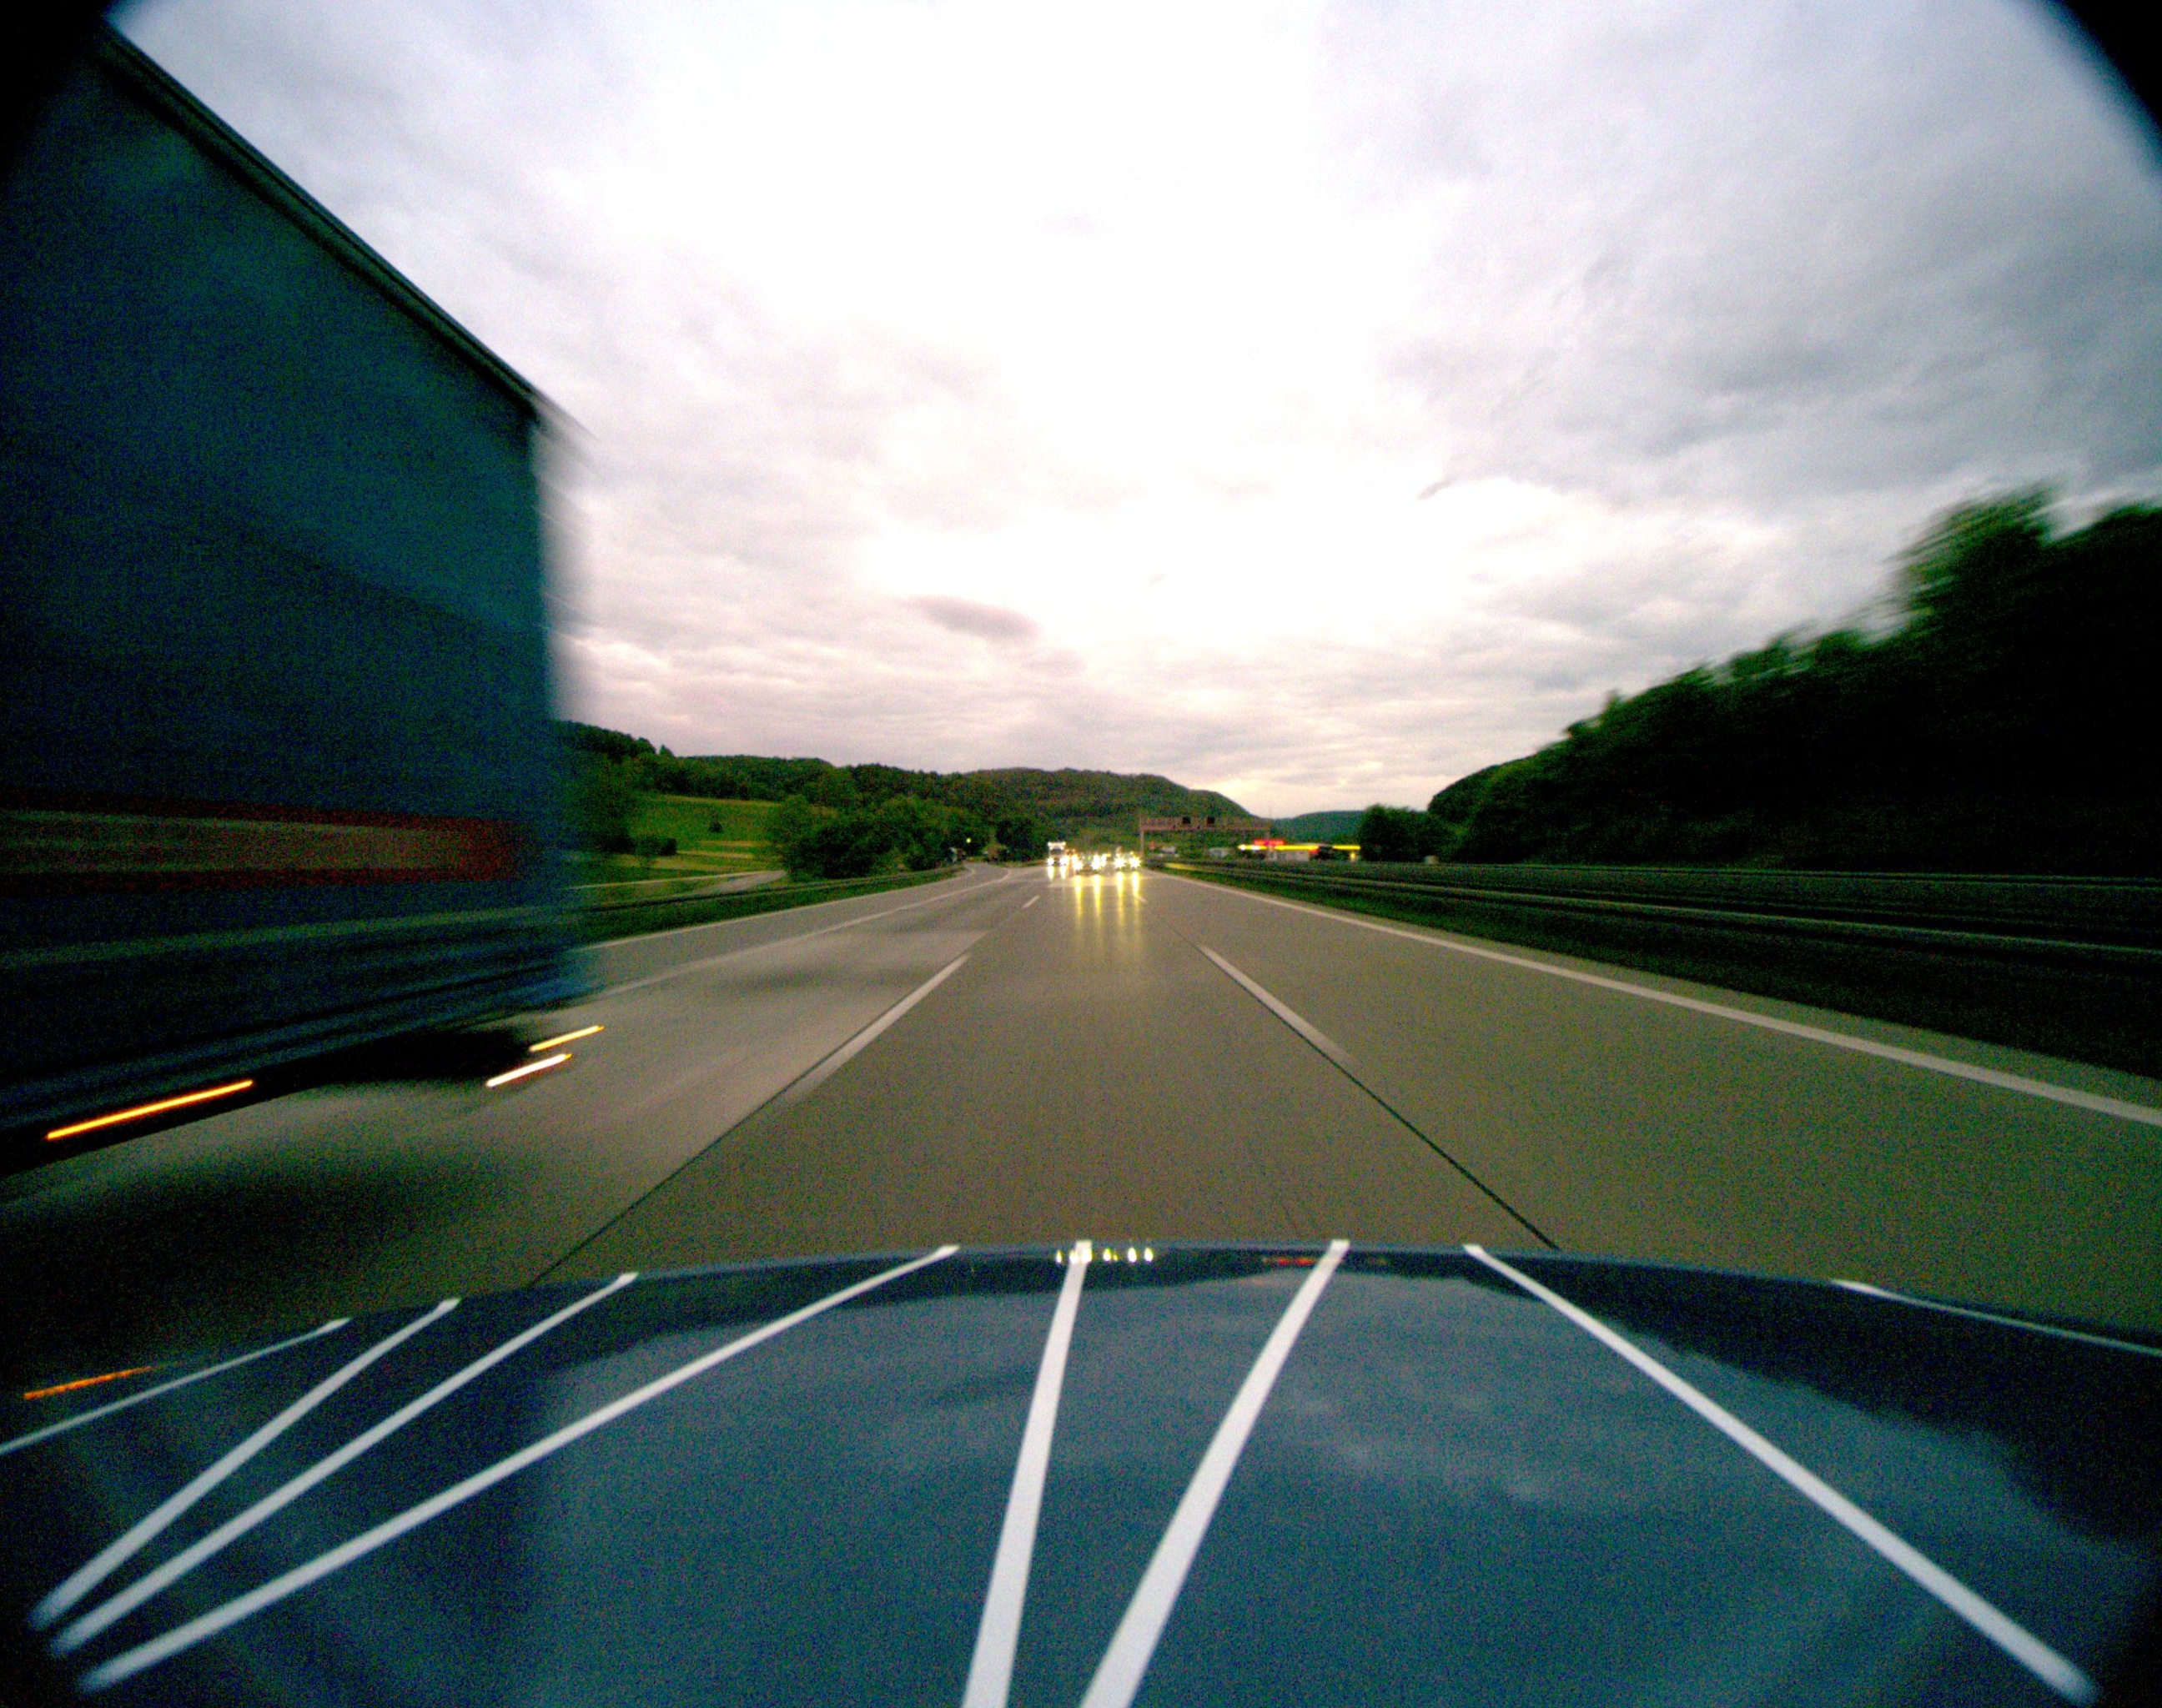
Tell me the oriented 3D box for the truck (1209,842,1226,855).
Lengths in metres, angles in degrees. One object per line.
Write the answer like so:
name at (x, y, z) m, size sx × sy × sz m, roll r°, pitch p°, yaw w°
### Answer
truck at (34.742, -1.370, 193.409) m, size 2.881 × 3.405 × 6.724 m, roll -1°, pitch 0°, yaw -3°

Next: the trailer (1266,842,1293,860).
trailer at (50.469, -0.721, 194.136) m, size 3.025 × 4.235 × 15.947 m, roll -1°, pitch 0°, yaw 1°

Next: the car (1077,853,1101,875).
car at (0.695, 0.820, 64.419) m, size 1.927 × 1.674 × 4.806 m, roll 0°, pitch 1°, yaw 0°

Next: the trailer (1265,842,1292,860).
trailer at (50.377, -0.720, 194.138) m, size 3.025 × 4.235 × 15.947 m, roll -1°, pitch 0°, yaw 1°

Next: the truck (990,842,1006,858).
truck at (-23.122, -1.198, 212.157) m, size 3.785 × 4.204 × 19.517 m, roll 0°, pitch 0°, yaw -4°

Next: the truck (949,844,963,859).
truck at (-32.531, -0.730, 197.813) m, size 2.846 × 3.893 × 6.383 m, roll 0°, pitch 1°, yaw -2°

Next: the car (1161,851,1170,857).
car at (20.304, -0.019, 182.398) m, size 1.734 × 1.577 × 4.644 m, roll -1°, pitch 0°, yaw 0°

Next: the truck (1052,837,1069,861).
truck at (-3.349, -0.815, 127.616) m, size 2.623 × 3.805 × 10.384 m, roll -1°, pitch 1°, yaw -1°

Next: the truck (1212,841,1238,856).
truck at (35.143, -1.365, 186.298) m, size 2.881 × 3.405 × 13.785 m, roll -1°, pitch 0°, yaw -4°

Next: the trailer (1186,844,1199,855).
trailer at (37.257, -1.505, 255.203) m, size 2.880 × 3.405 × 13.225 m, roll -1°, pitch 0°, yaw 2°

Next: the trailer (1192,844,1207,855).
trailer at (36.655, -1.427, 235.657) m, size 2.880 × 3.405 × 13.571 m, roll -1°, pitch 0°, yaw 2°

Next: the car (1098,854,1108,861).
car at (4.961, 0.861, 172.002) m, size 1.898 × 1.503 × 3.999 m, roll -1°, pitch 0°, yaw 0°

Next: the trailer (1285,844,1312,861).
trailer at (49.819, -0.414, 174.497) m, size 2.880 × 3.657 × 12.717 m, roll -1°, pitch 0°, yaw 1°

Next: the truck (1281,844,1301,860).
truck at (50.016, -0.421, 181.364) m, size 2.880 × 3.619 × 7.029 m, roll -1°, pitch 0°, yaw 2°

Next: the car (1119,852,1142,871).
car at (4.790, 0.698, 74.580) m, size 1.894 × 1.650 × 5.639 m, roll -2°, pitch 1°, yaw 1°

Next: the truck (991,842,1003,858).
truck at (-21.324, -0.918, 192.357) m, size 2.847 × 3.893 × 11.981 m, roll 0°, pitch 0°, yaw -6°

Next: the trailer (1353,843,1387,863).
trailer at (61.809, -0.366, 162.070) m, size 3.280 × 4.082 × 14.475 m, roll 0°, pitch 1°, yaw 36°

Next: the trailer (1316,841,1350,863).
trailer at (46.231, -0.444, 138.935) m, size 3.063 × 3.657 × 13.368 m, roll -1°, pitch 0°, yaw 31°

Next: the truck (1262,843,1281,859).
truck at (50.572, -0.776, 202.208) m, size 3.025 × 4.235 × 8.864 m, roll -1°, pitch 0°, yaw 1°

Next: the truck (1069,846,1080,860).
truck at (-1.837, -0.404, 225.381) m, size 3.120 × 3.850 × 14.162 m, roll 2°, pitch 0°, yaw 0°

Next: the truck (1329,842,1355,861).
truck at (49.798, -0.506, 144.814) m, size 3.006 × 3.657 × 7.693 m, roll -1°, pitch 0°, yaw 31°

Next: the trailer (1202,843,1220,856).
trailer at (35.931, -1.239, 210.594) m, size 2.880 × 3.405 × 13.851 m, roll -1°, pitch 0°, yaw 1°
